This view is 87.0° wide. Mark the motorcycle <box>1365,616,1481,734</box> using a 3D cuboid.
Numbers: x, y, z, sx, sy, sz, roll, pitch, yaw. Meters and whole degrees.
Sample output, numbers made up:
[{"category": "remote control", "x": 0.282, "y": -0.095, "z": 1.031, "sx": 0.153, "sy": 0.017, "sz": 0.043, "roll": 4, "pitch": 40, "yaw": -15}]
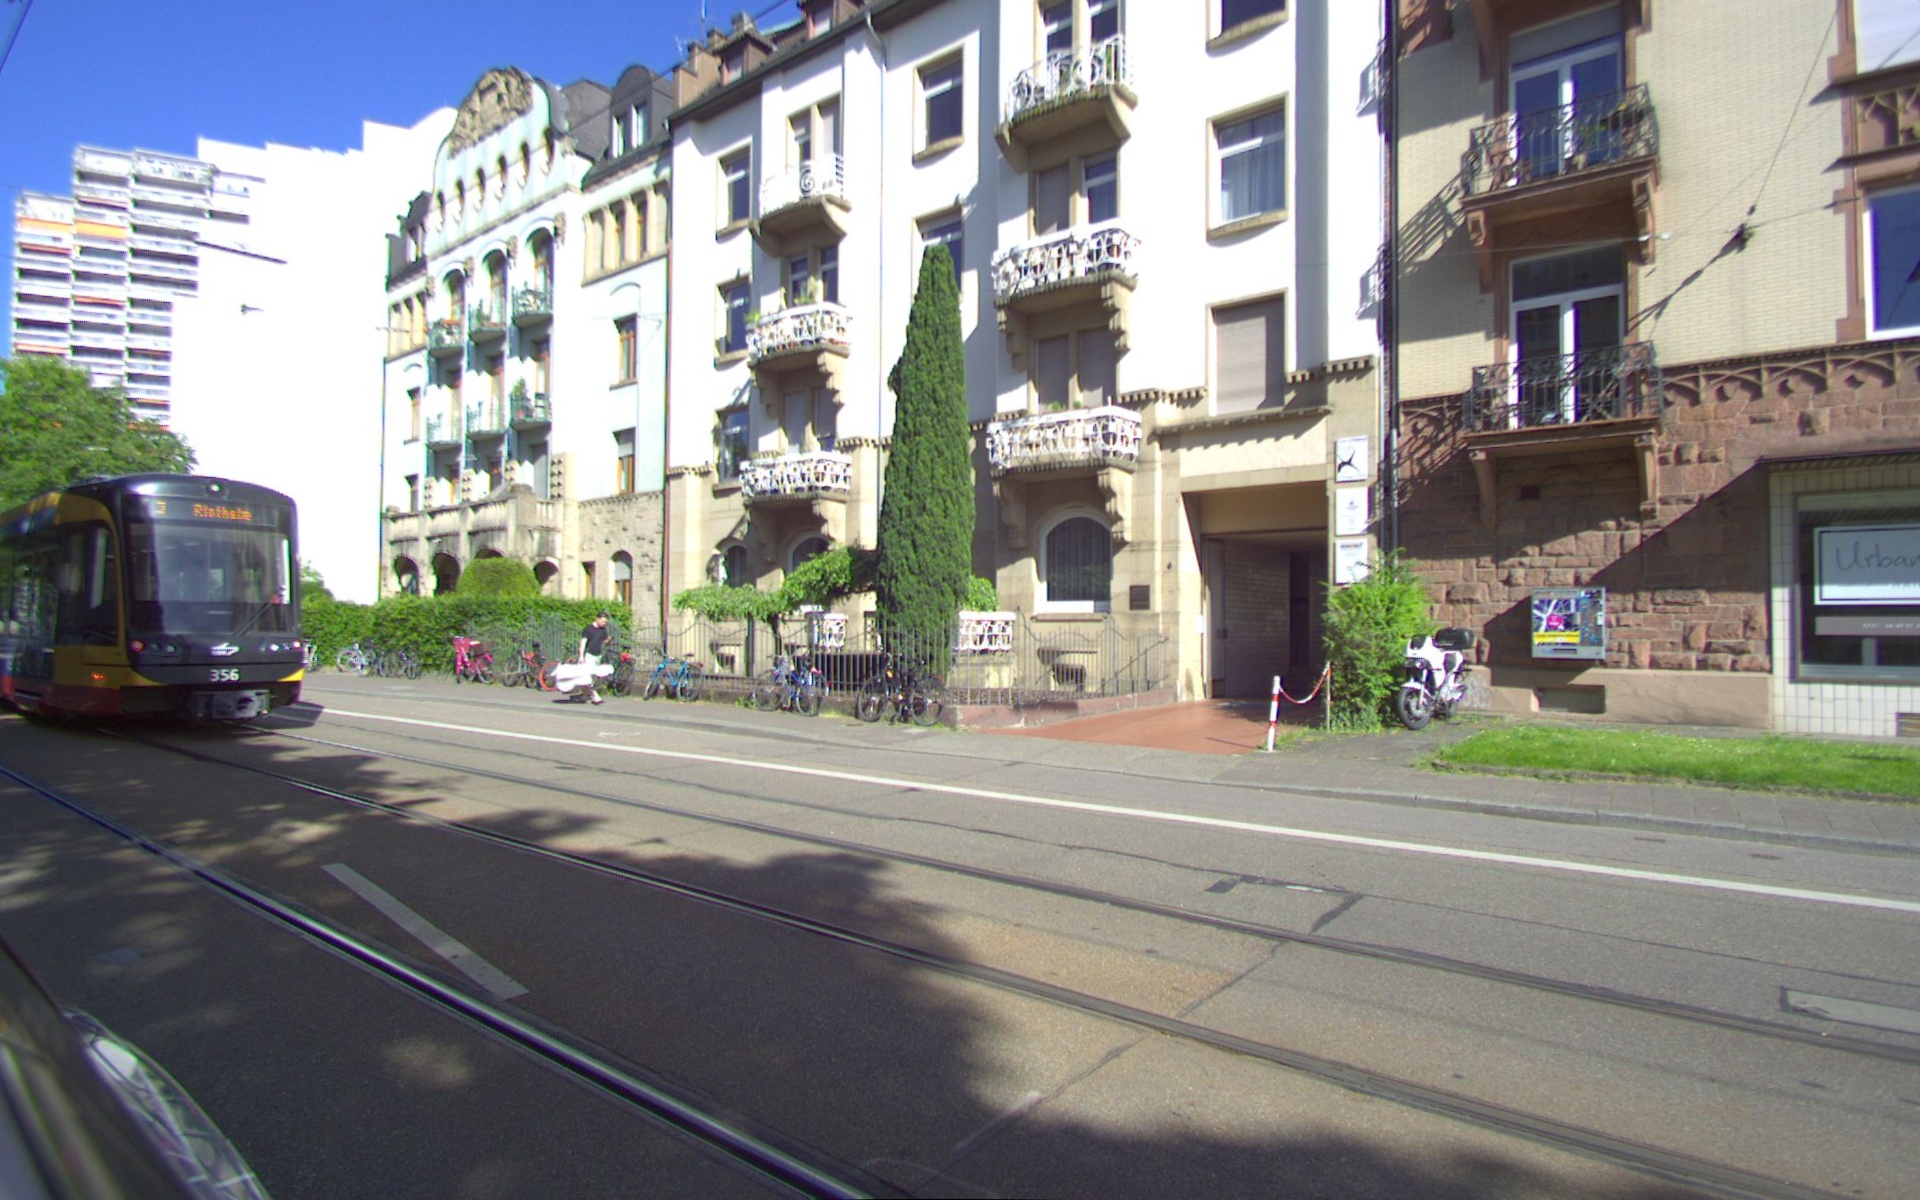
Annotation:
[{"category": "motorcycle", "x": 6.571, "y": 0.969, "z": 14.244, "sx": 0.822, "sy": 1.467, "sz": 3.055, "roll": -1, "pitch": -1, "yaw": 37}]

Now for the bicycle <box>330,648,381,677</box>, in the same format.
[{"category": "bicycle", "x": -17.824, "y": 1.836, "z": 29.846, "sx": 0.297, "sy": 0.799, "sz": 1.246, "roll": -1, "pitch": -1, "yaw": 40}]

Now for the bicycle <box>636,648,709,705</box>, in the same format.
[{"category": "bicycle", "x": -5.305, "y": 1.383, "z": 18.637, "sx": 1.748, "sy": 0.949, "sz": 0.400, "roll": -1, "pitch": -1, "yaw": 41}]

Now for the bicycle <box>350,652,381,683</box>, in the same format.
[{"category": "bicycle", "x": -15.946, "y": 1.793, "z": 27.139, "sx": 1.262, "sy": 0.767, "sz": 0.335, "roll": -1, "pitch": -1, "yaw": 41}]

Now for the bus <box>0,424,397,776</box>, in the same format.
[{"category": "bus", "x": -12.965, "y": 0.052, "z": 15.836, "sx": 12.181, "sy": 3.806, "sz": 2.822, "roll": -1, "pitch": -1, "yaw": 38}]

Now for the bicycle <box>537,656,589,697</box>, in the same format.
[{"category": "bicycle", "x": -8.190, "y": 1.556, "z": 20.860, "sx": 1.542, "sy": 0.767, "sz": 0.314, "roll": -1, "pitch": -1, "yaw": 41}]

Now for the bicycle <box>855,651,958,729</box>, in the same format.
[{"category": "bicycle", "x": -0.820, "y": 1.318, "z": 15.136, "sx": 1.748, "sy": 1.047, "sz": 0.400, "roll": -1, "pitch": -1, "yaw": 41}]

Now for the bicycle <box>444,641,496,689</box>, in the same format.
[{"category": "bicycle", "x": -11.345, "y": 1.495, "z": 23.412, "sx": 1.815, "sy": 1.031, "sz": 0.400, "roll": -1, "pitch": -1, "yaw": 41}]

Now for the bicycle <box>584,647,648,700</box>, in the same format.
[{"category": "bicycle", "x": -6.748, "y": 1.415, "z": 19.801, "sx": 1.648, "sy": 0.949, "sz": 0.400, "roll": -1, "pitch": -1, "yaw": 41}]

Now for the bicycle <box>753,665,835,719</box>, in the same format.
[{"category": "bicycle", "x": -2.702, "y": 1.464, "z": 16.364, "sx": 1.651, "sy": 0.767, "sz": 0.314, "roll": -1, "pitch": -1, "yaw": 41}]

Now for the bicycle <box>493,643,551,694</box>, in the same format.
[{"category": "bicycle", "x": -9.539, "y": 1.468, "z": 22.003, "sx": 1.815, "sy": 1.031, "sz": 0.400, "roll": -1, "pitch": -1, "yaw": 41}]

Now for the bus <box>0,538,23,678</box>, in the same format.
[{"category": "bus", "x": -31.076, "y": 0.248, "z": 30.214, "sx": 11.483, "sy": 3.806, "sz": 2.832, "roll": -1, "pitch": -1, "yaw": 38}]

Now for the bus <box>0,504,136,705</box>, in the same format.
[{"category": "bus", "x": -22.173, "y": 0.130, "z": 23.138, "sx": 11.169, "sy": 3.806, "sz": 2.832, "roll": -1, "pitch": -1, "yaw": 38}]

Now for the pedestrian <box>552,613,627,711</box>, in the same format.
[{"category": "pedestrian", "x": -6.637, "y": 1.087, "z": 18.144, "sx": 0.870, "sy": 1.640, "sz": 0.858, "roll": -1, "pitch": 3, "yaw": 40}]

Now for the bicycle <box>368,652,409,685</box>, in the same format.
[{"category": "bicycle", "x": -14.793, "y": 1.755, "z": 26.175, "sx": 1.581, "sy": 0.767, "sz": 0.400, "roll": -1, "pitch": -1, "yaw": 41}]
